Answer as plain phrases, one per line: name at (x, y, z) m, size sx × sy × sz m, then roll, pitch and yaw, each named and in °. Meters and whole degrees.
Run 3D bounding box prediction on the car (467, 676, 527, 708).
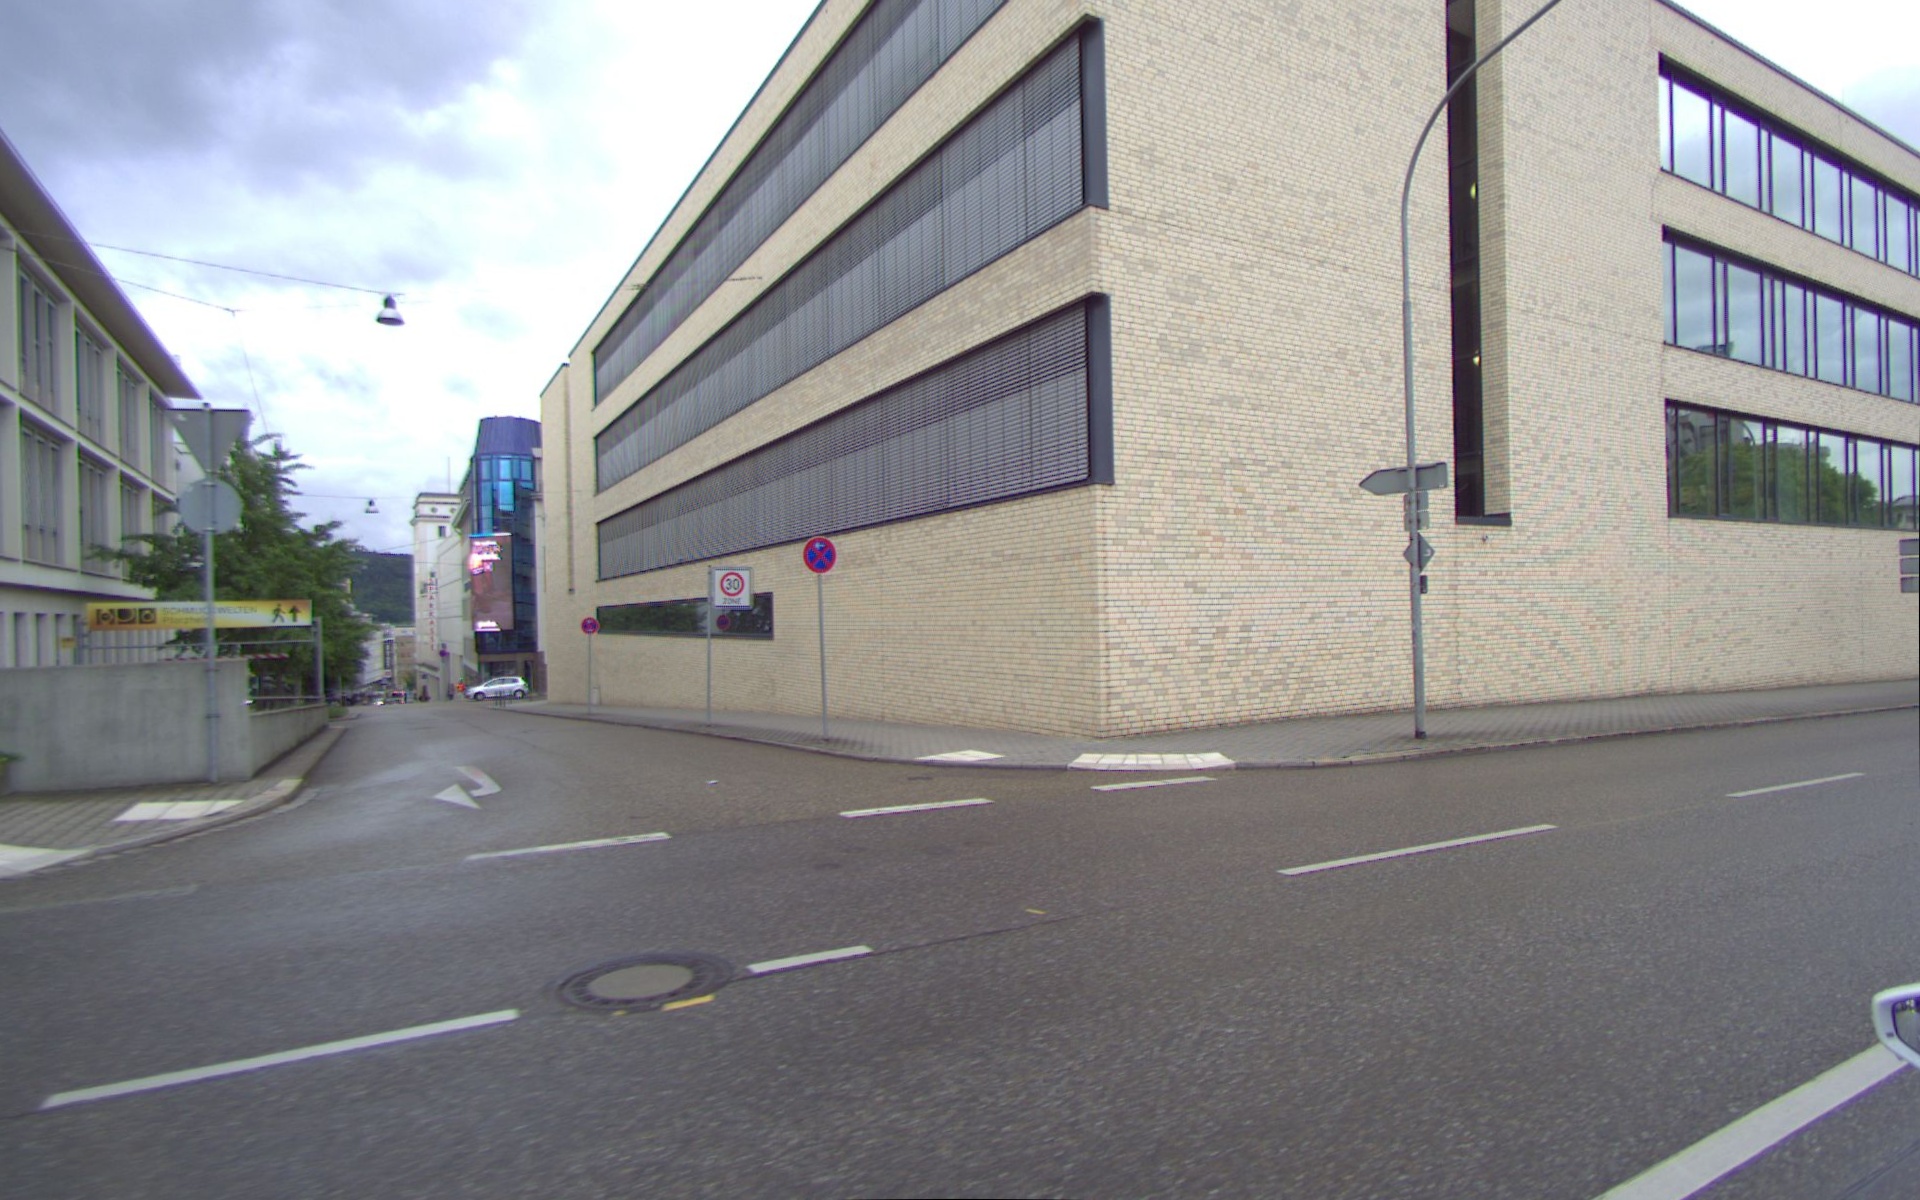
car at (-32.799, 6.488, 71.218) m, size 3.720 × 2.040 × 1.988 m, roll 2°, pitch 0°, yaw -25°
